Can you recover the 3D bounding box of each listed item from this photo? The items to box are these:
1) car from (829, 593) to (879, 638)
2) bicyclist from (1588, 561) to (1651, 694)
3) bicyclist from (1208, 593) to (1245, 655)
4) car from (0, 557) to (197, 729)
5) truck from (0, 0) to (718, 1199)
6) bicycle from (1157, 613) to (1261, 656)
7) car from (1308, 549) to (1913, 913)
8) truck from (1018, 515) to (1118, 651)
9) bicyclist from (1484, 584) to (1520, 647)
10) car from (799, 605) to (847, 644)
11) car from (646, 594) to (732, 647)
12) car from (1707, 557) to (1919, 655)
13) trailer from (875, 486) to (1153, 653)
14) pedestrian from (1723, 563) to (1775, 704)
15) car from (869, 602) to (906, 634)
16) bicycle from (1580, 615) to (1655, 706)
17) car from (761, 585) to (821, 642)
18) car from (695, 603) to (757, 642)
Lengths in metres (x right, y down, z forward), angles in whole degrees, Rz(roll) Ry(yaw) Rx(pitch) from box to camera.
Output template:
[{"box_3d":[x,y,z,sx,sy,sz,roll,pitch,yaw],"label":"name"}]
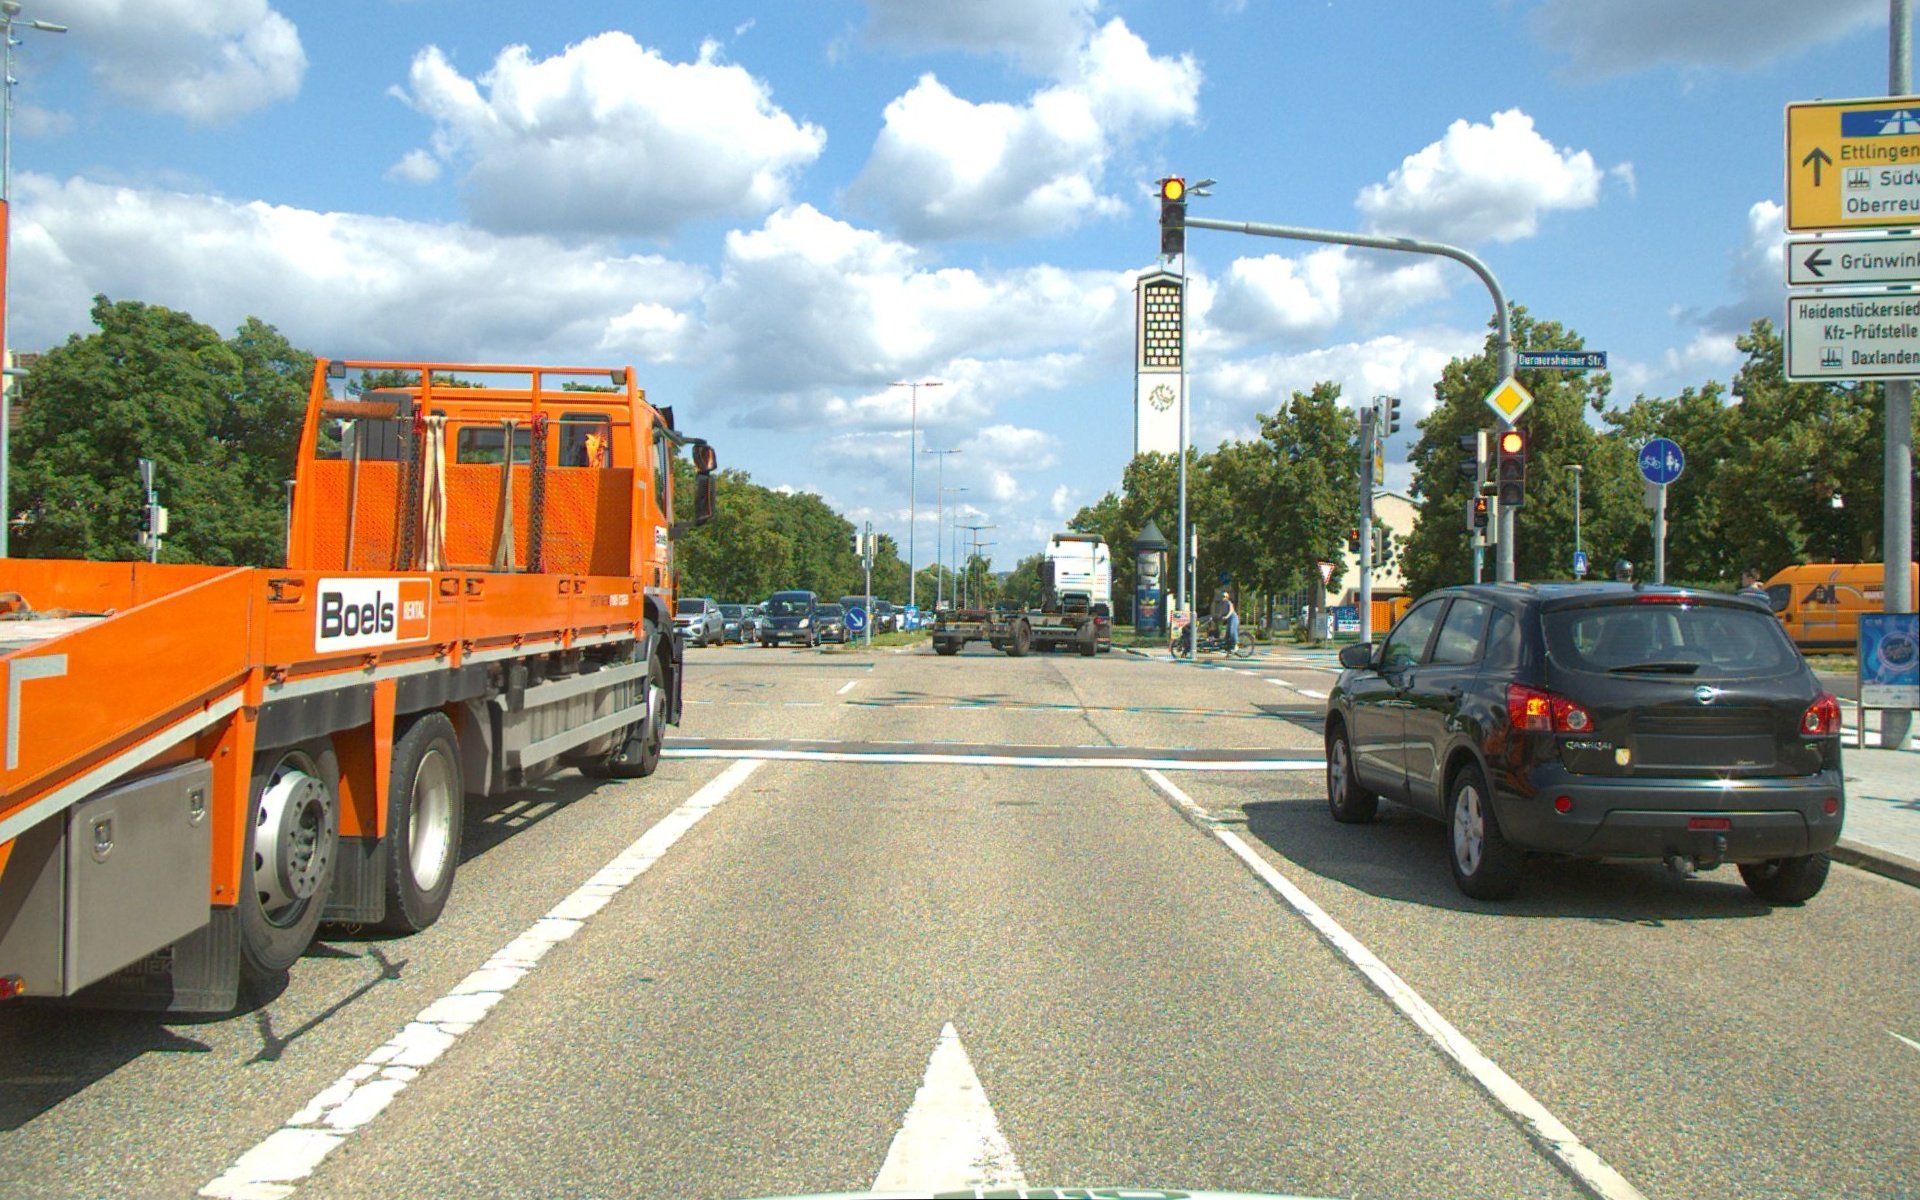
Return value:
[{"box_3d":[-4.348,0.621,68.197,1.699,1.689,4.231,2,1,1],"label":"car"},{"box_3d":[8.589,0.356,21.552,0.634,1.690,0.650,2,-1,14],"label":"bicyclist"},{"box_3d":[7.251,0.650,45.027,0.689,1.644,0.792,1,0,-23],"label":"bicyclist"},{"box_3d":[-10.324,0.426,18.530,1.758,1.719,3.999,0,0,-1],"label":"car"},{"box_3d":[-3.506,-0.412,8.625,3.009,3.474,11.064,2,-1,-2],"label":"truck"},{"box_3d":[6.745,0.939,44.809,2.795,1.131,0.791,1,0,-24],"label":"bicycle"},{"box_3d":[3.370,0.613,9.471,1.763,1.579,3.998,2,-1,-2],"label":"car"},{"box_3d":[3.568,-0.437,53.960,2.897,4.040,8.642,1,-1,4],"label":"truck"},{"box_3d":[16.114,0.457,49.167,0.775,1.836,0.681,1,-1,-21],"label":"bicyclist"},{"box_3d":[-4.983,0.884,60.591,1.536,1.339,3.430,2,-1,-2],"label":"car"},{"box_3d":[-8.667,0.663,53.175,1.698,1.570,4.311,2,-1,4],"label":"car"},{"box_3d":[21.428,0.142,41.439,4.752,2.264,2.208,2,-1,29],"label":"car"},{"box_3d":[1.884,-0.634,46.324,3.549,4.082,11.309,1,-1,25],"label":"trailer"},{"box_3d":[10.367,0.439,21.738,0.454,1.810,0.482,2,-1,10],"label":"pedestrian"},{"box_3d":[-4.028,1.007,92.468,1.699,1.689,4.231,2,-1,1],"label":"car"},{"box_3d":[8.620,0.778,21.736,0.634,1.127,1.929,2,-1,14],"label":"bicycle"},{"box_3d":[-5.368,0.434,52.911,1.700,1.689,4.227,2,-1,-4],"label":"car"},{"box_3d":[-8.411,0.805,59.674,1.727,1.375,3.519,1,-1,0],"label":"car"}]
